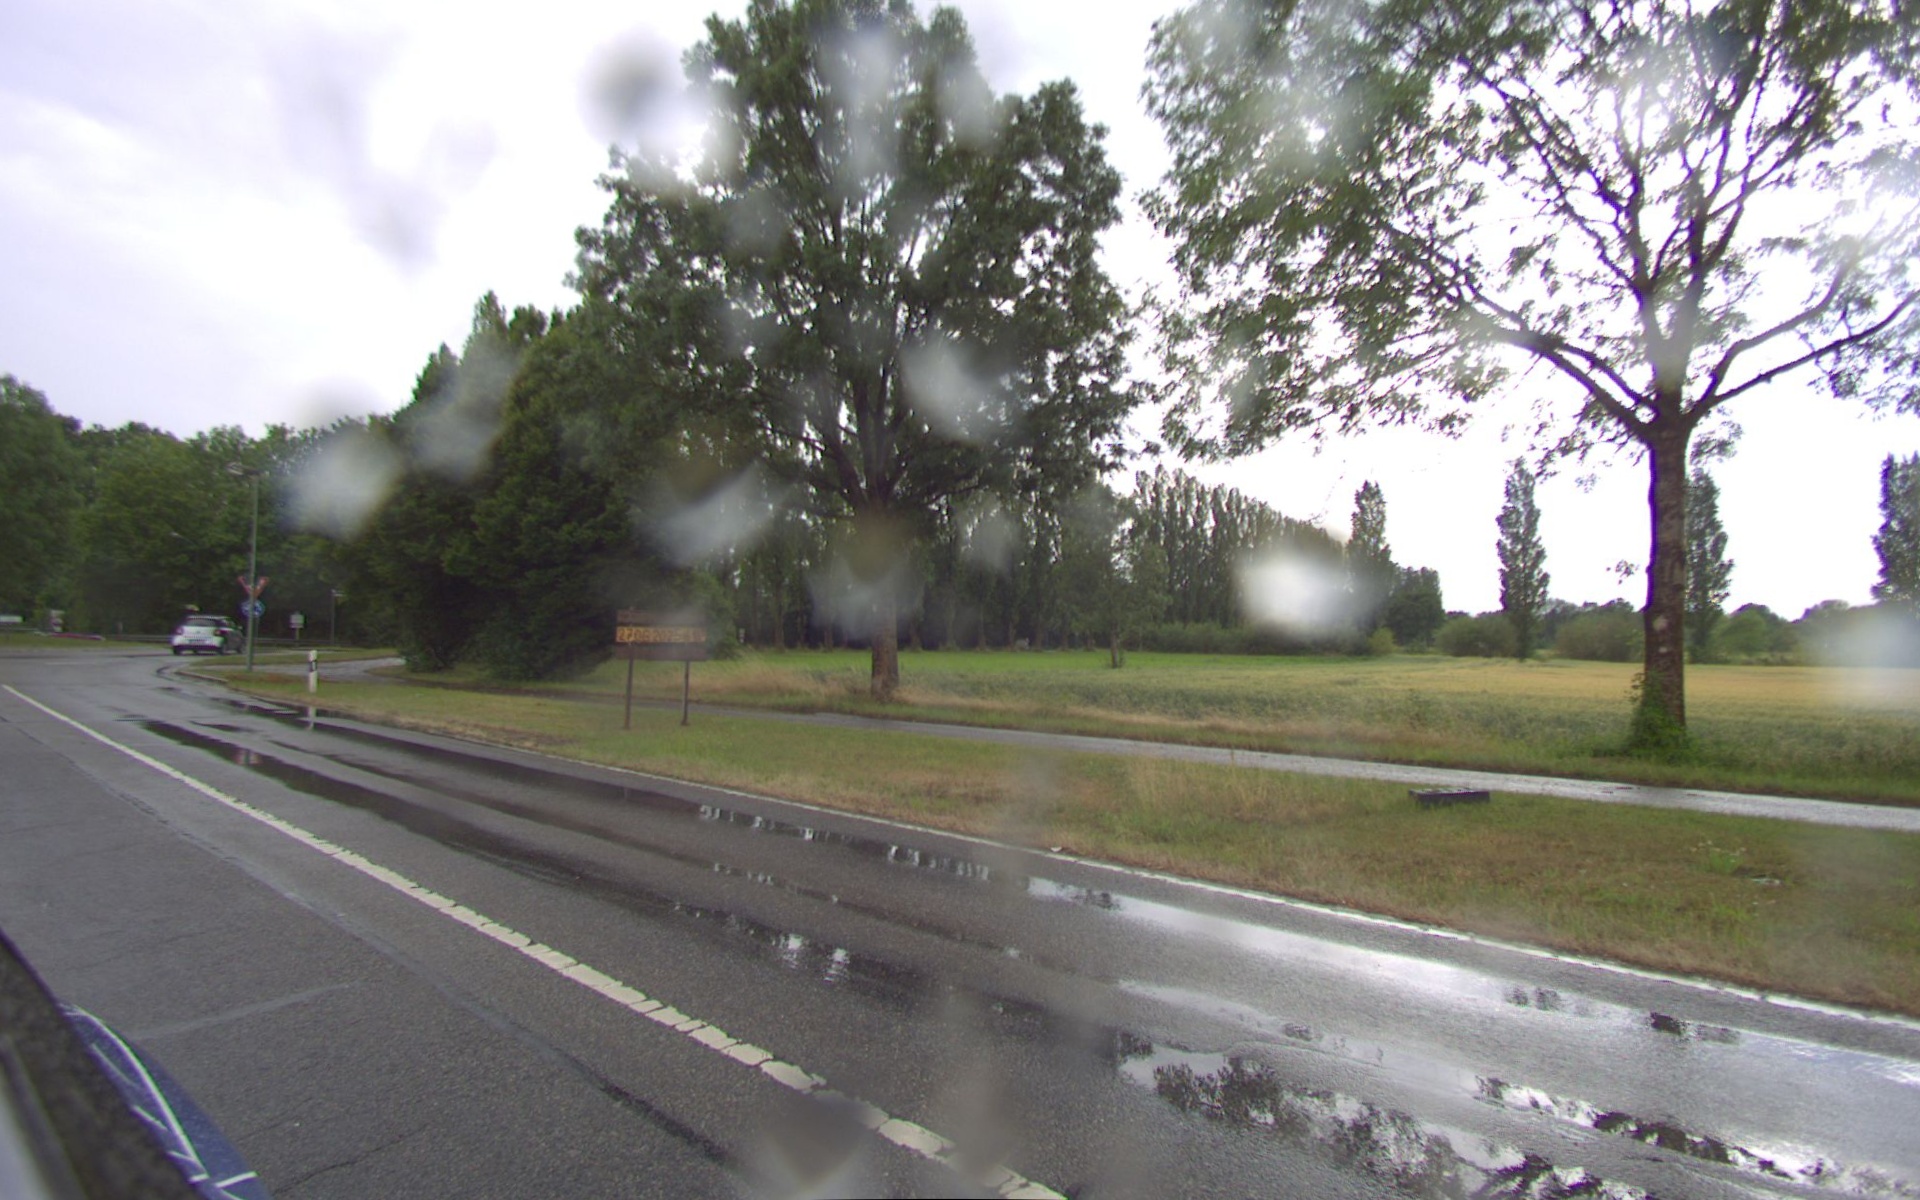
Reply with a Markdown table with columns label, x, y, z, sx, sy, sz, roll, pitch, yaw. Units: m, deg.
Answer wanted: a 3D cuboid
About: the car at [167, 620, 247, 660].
| label | x | y | z | sx | sy | sz | roll | pitch | yaw |
| --- | --- | --- | --- | --- | --- | --- | --- | --- | --- |
| car | -29.669 | 1.582 | 39.984 | 1.652 | 1.510 | 3.746 | 2 | -3 | -24 |
